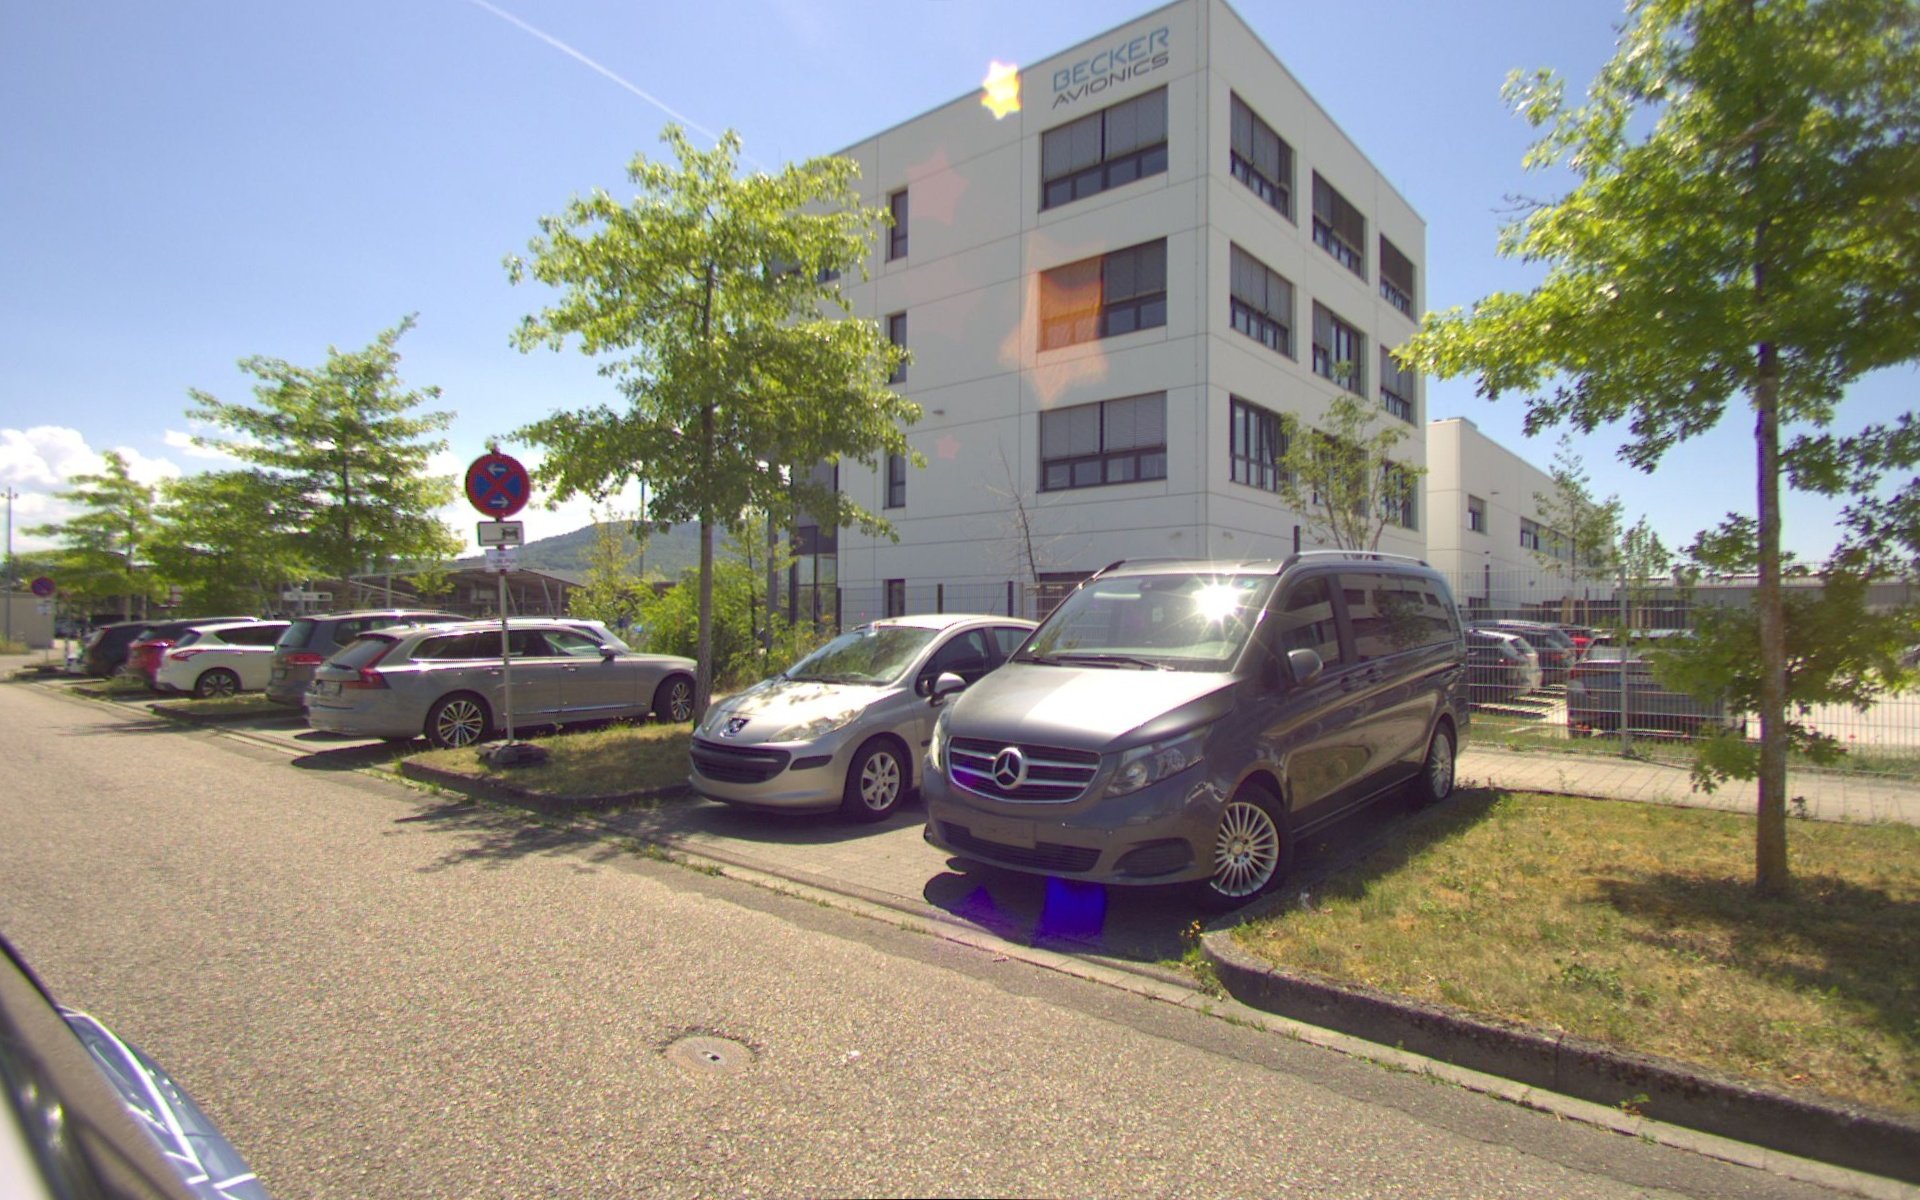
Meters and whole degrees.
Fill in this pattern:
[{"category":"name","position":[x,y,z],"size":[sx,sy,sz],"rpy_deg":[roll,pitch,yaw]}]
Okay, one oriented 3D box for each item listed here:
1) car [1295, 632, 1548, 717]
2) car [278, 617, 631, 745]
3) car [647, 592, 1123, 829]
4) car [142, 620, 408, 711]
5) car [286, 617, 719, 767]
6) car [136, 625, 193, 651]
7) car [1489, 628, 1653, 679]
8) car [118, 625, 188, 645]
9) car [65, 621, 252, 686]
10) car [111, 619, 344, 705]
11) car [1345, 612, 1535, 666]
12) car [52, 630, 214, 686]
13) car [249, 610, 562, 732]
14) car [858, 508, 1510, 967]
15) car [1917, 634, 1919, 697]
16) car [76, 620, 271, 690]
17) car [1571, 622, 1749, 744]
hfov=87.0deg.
[{"category":"car","position":[8.777,1.351,19.404],"size":[3.999,1.237,1.973],"rpy_deg":[3,0,41]},{"category":"car","position":[-7.140,1.050,14.682],"size":[1.725,1.484,4.269],"rpy_deg":[-2,-1,39]},{"category":"car","position":[-0.431,0.723,8.626],"size":[1.763,1.495,3.927],"rpy_deg":[-2,0,41]},{"category":"car","position":[-13.706,1.245,20.419],"size":[1.807,1.524,4.127],"rpy_deg":[-3,-1,42]},{"category":"car","position":[-5.540,0.999,12.816],"size":[1.856,1.458,4.665],"rpy_deg":[-2,-1,40]},{"category":"car","position":[-45.988,2.192,58.486],"size":[3.770,1.447,1.702],"rpy_deg":[-1,-3,37]},{"category":"car","position":[18.632,1.593,30.959],"size":[3.999,1.237,1.973],"rpy_deg":[3,0,41]},{"category":"car","position":[-59.084,2.571,74.118],"size":[1.721,1.447,3.728],"rpy_deg":[-2,-3,37]},{"category":"car","position":[-22.455,1.449,28.459],"size":[1.827,1.605,3.802],"rpy_deg":[-2,-1,38]},{"category":"car","position":[-15.872,1.277,22.071],"size":[1.725,1.604,3.801],"rpy_deg":[-2,-1,39]},{"category":"car","position":[12.110,0.950,25.638],"size":[3.998,1.237,1.973],"rpy_deg":[0,-2,41]},{"category":"car","position":[-24.455,1.660,30.004],"size":[1.726,1.452,3.468],"rpy_deg":[-2,-1,40]},{"category":"car","position":[-8.775,1.028,16.263],"size":[1.727,1.647,4.073],"rpy_deg":[-2,-1,43]},{"category":"car","position":[1.866,0.587,6.745],"size":[1.997,1.906,5.015],"rpy_deg":[-2,-1,42]},{"category":"car","position":[28.058,1.786,26.674],"size":[3.998,1.730,1.973],"rpy_deg":[-1,-3,41]},{"category":"car","position":[-20.518,1.379,26.498],"size":[1.728,1.604,3.862],"rpy_deg":[-2,-1,45]},{"category":"car","position":[9.233,1.082,13.253],"size":[1.675,1.342,3.949],"rpy_deg":[-1,-5,38]}]
